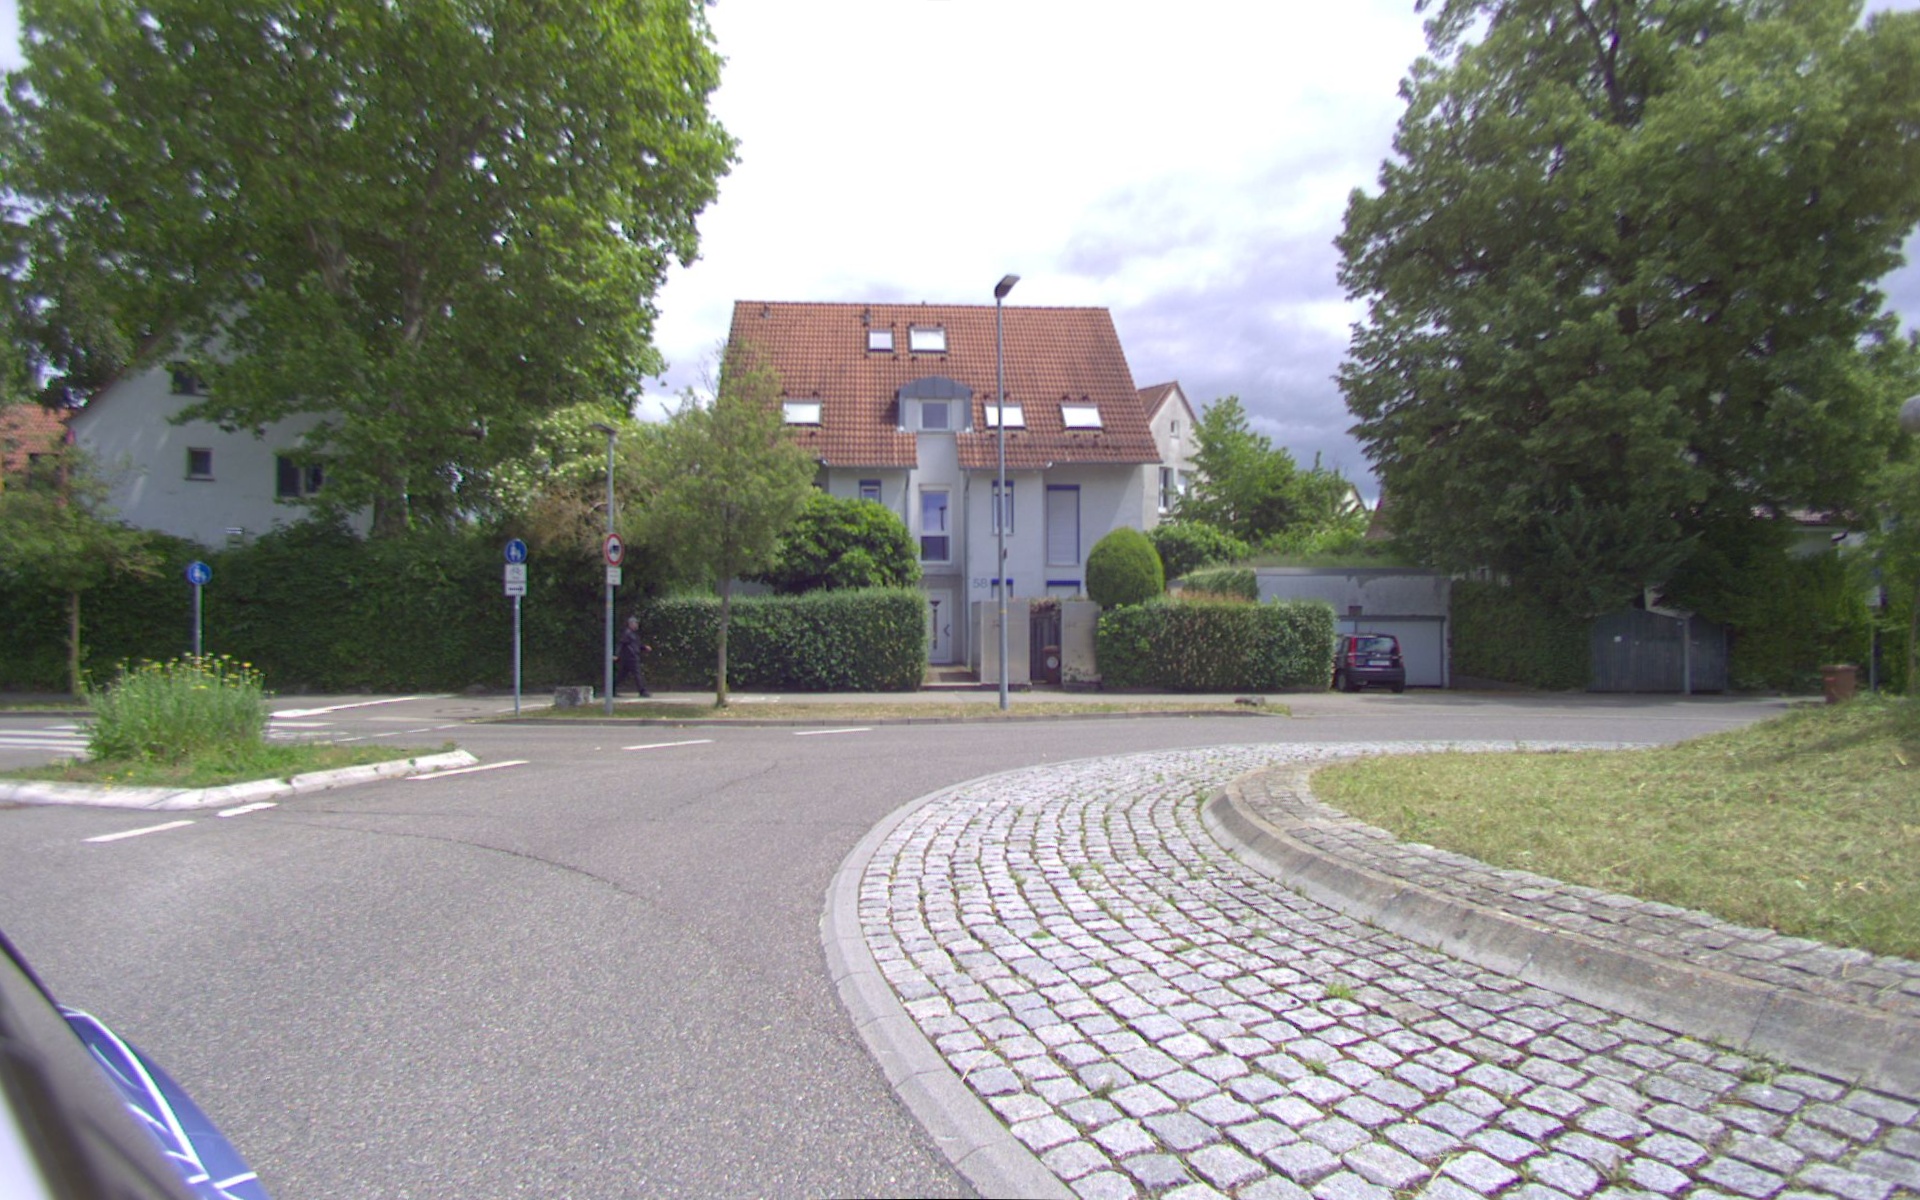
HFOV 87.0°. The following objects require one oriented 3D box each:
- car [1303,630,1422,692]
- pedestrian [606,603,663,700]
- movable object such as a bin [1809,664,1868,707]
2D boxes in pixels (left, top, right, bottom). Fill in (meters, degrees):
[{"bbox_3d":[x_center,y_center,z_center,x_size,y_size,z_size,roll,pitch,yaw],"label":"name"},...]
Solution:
[{"bbox_3d":[10.419,1.566,26.494,1.977,1.497,3.989,-1,-2,8],"label":"car"},{"bbox_3d":[-6.998,1.107,21.820,1.024,2.029,0.876,0,-3,-8],"label":"pedestrian"},{"bbox_3d":[18.057,1.750,20.809,0.632,0.870,0.630,-1,-3,7],"label":"movable object such as a bin"}]
